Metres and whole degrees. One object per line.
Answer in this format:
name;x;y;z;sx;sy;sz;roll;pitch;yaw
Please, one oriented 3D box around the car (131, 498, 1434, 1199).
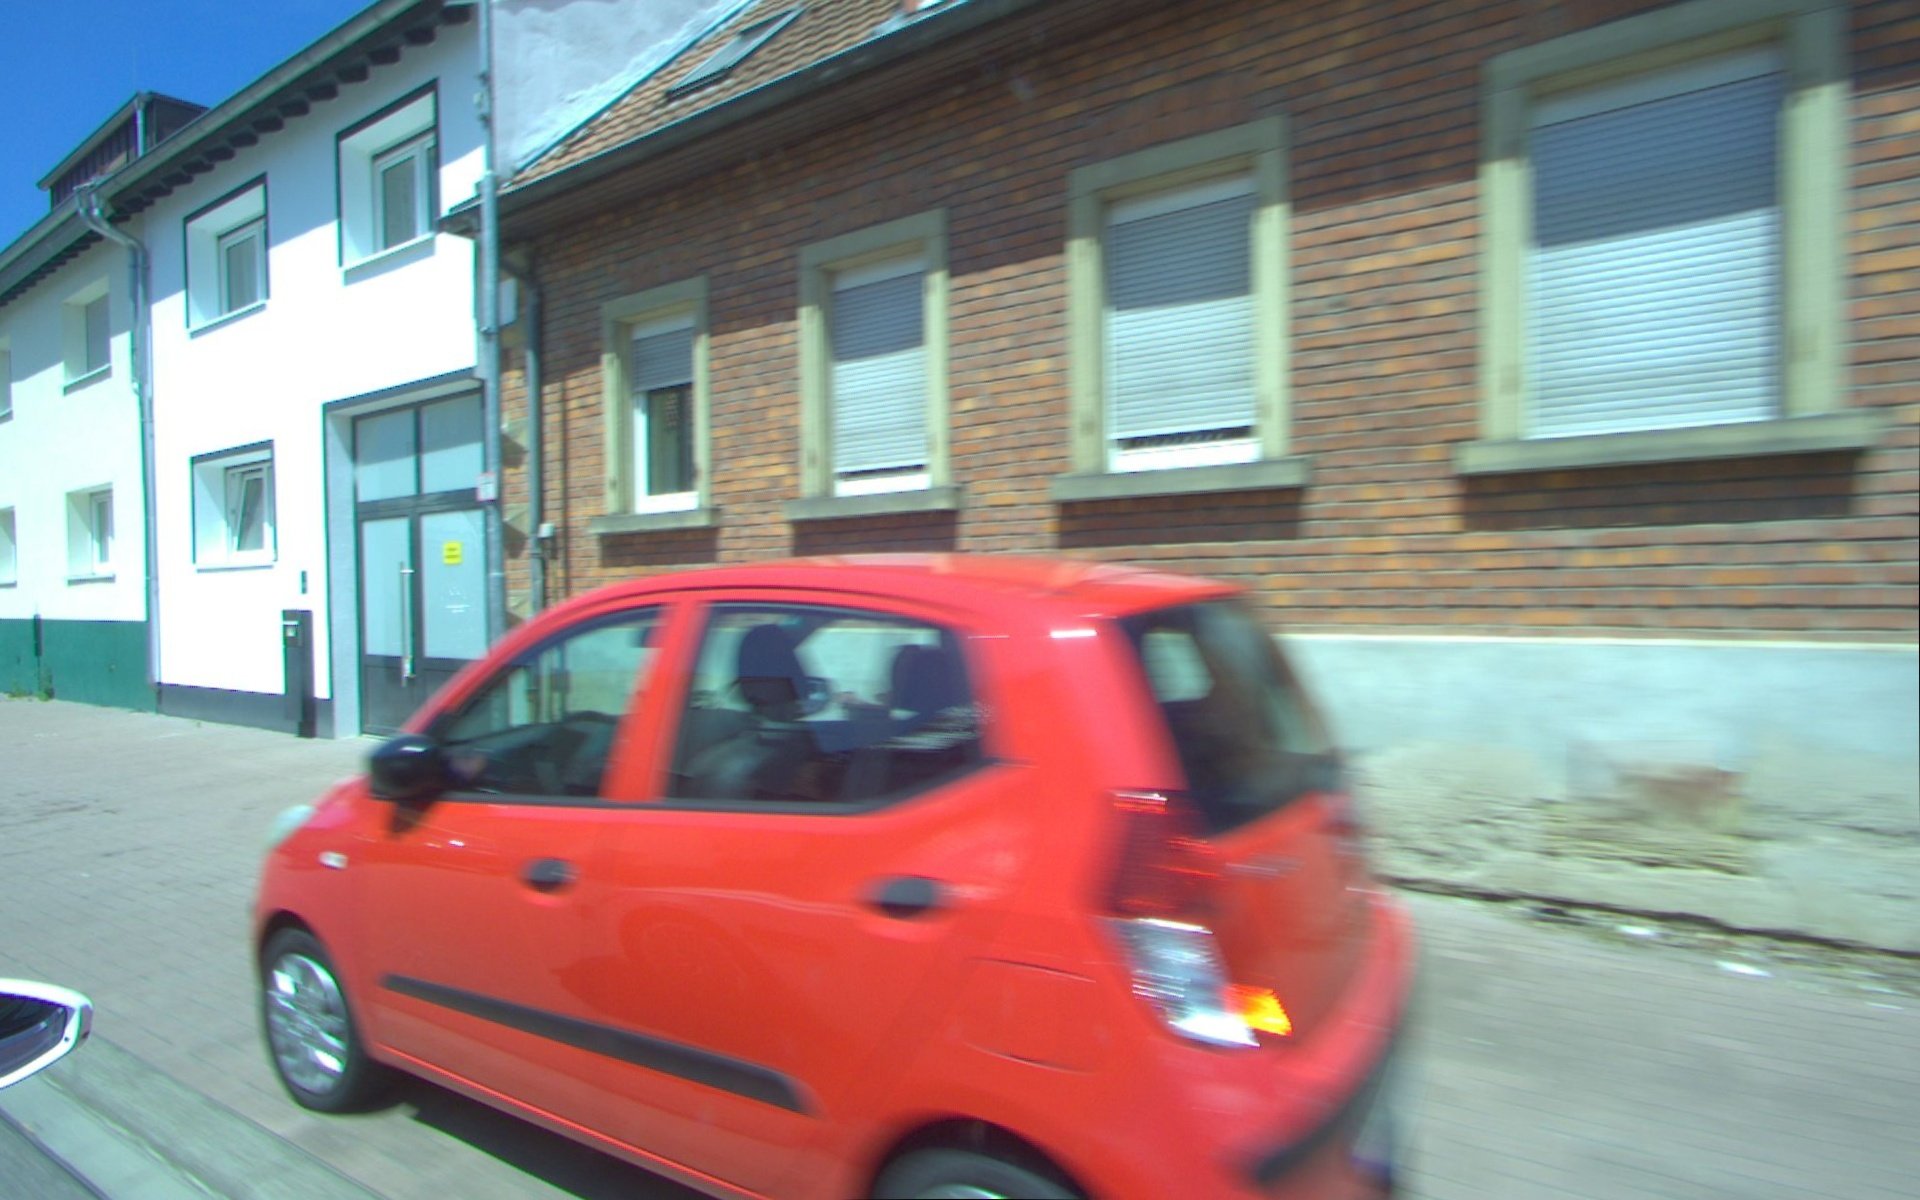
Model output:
car;-0.674;0.645;2.953;3.622;1.548;1.607;0;1;31
